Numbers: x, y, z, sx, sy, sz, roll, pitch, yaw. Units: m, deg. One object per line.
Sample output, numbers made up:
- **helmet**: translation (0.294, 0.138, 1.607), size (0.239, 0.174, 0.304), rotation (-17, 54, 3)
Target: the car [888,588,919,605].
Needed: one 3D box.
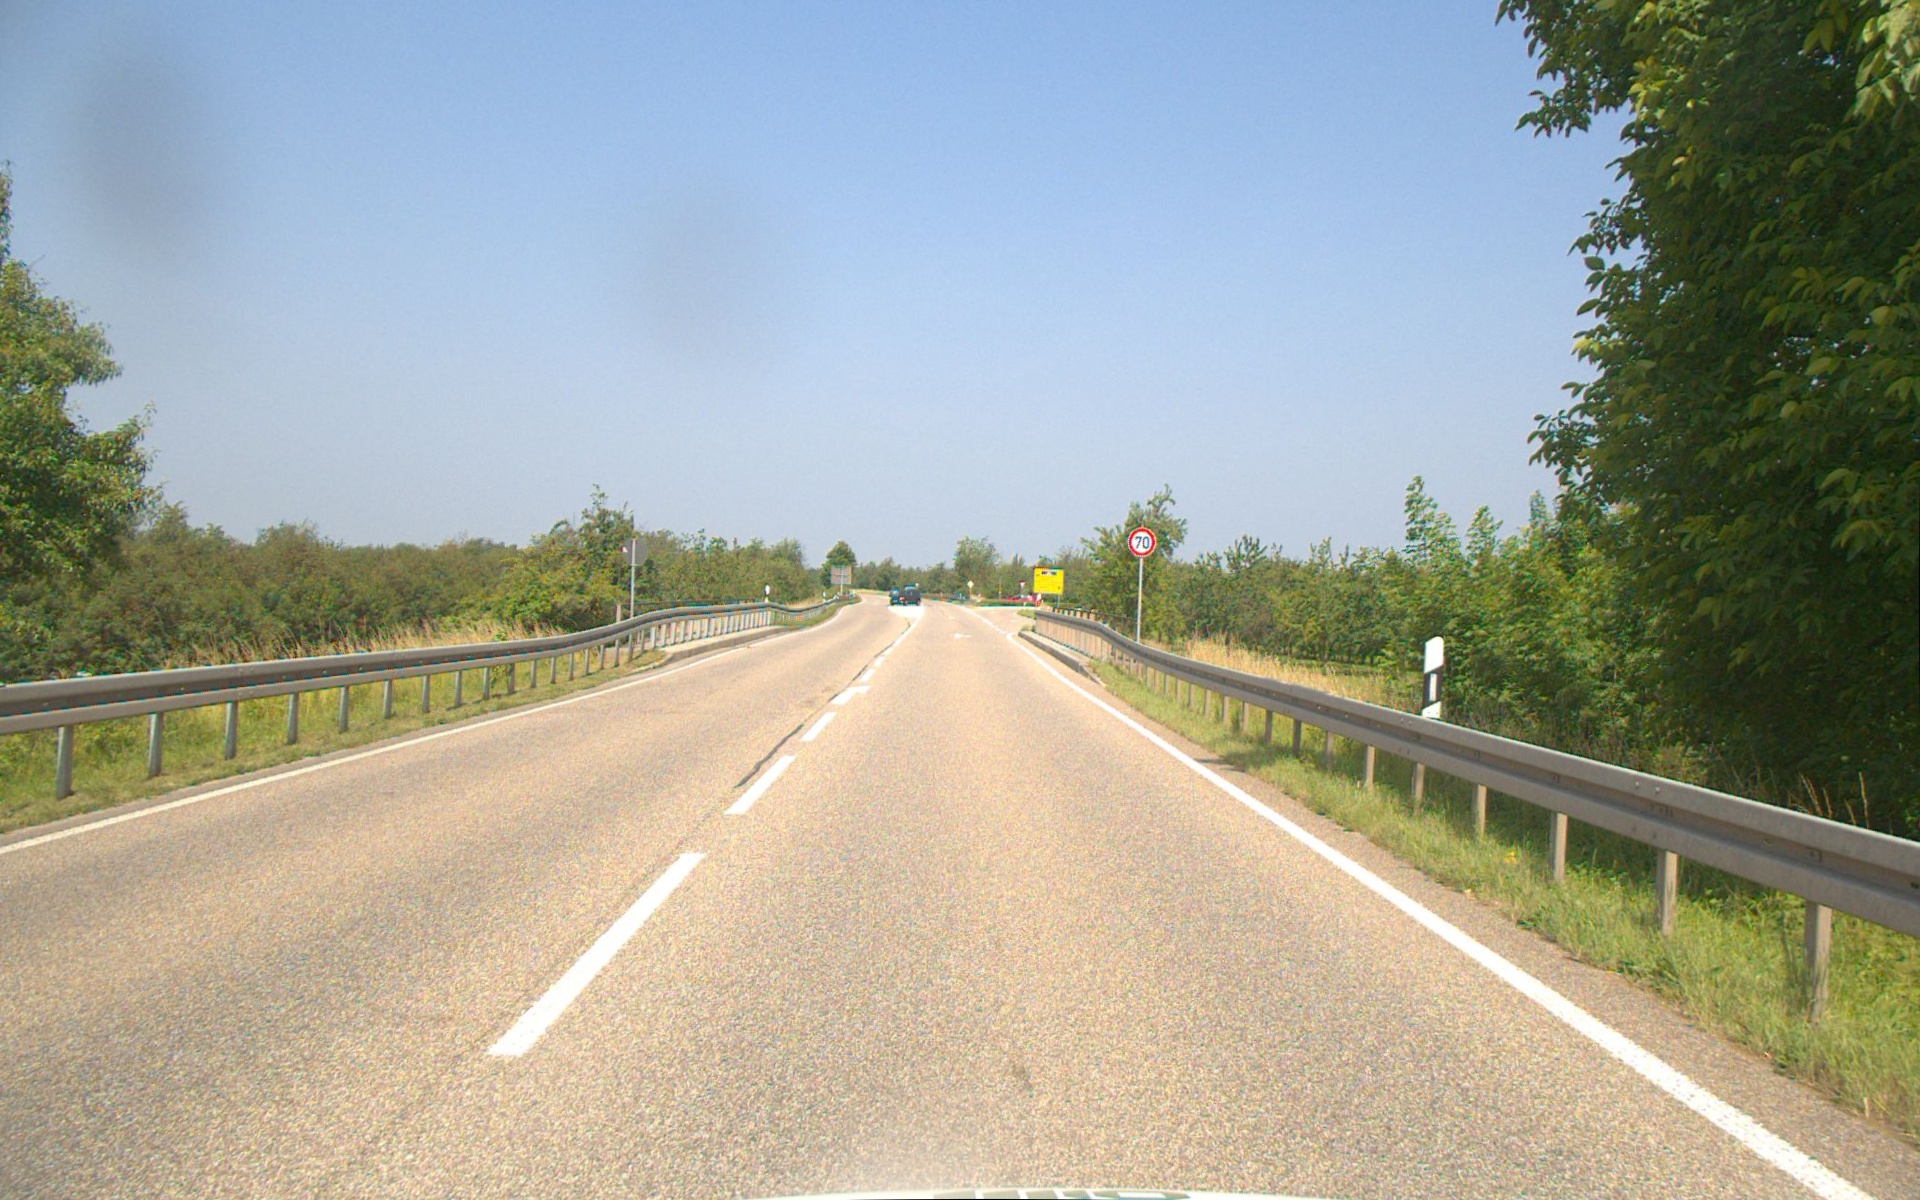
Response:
- **car**: translation (-5.718, -0.351, 168.046), size (1.765, 1.666, 4.813), rotation (1, 0, 15)
